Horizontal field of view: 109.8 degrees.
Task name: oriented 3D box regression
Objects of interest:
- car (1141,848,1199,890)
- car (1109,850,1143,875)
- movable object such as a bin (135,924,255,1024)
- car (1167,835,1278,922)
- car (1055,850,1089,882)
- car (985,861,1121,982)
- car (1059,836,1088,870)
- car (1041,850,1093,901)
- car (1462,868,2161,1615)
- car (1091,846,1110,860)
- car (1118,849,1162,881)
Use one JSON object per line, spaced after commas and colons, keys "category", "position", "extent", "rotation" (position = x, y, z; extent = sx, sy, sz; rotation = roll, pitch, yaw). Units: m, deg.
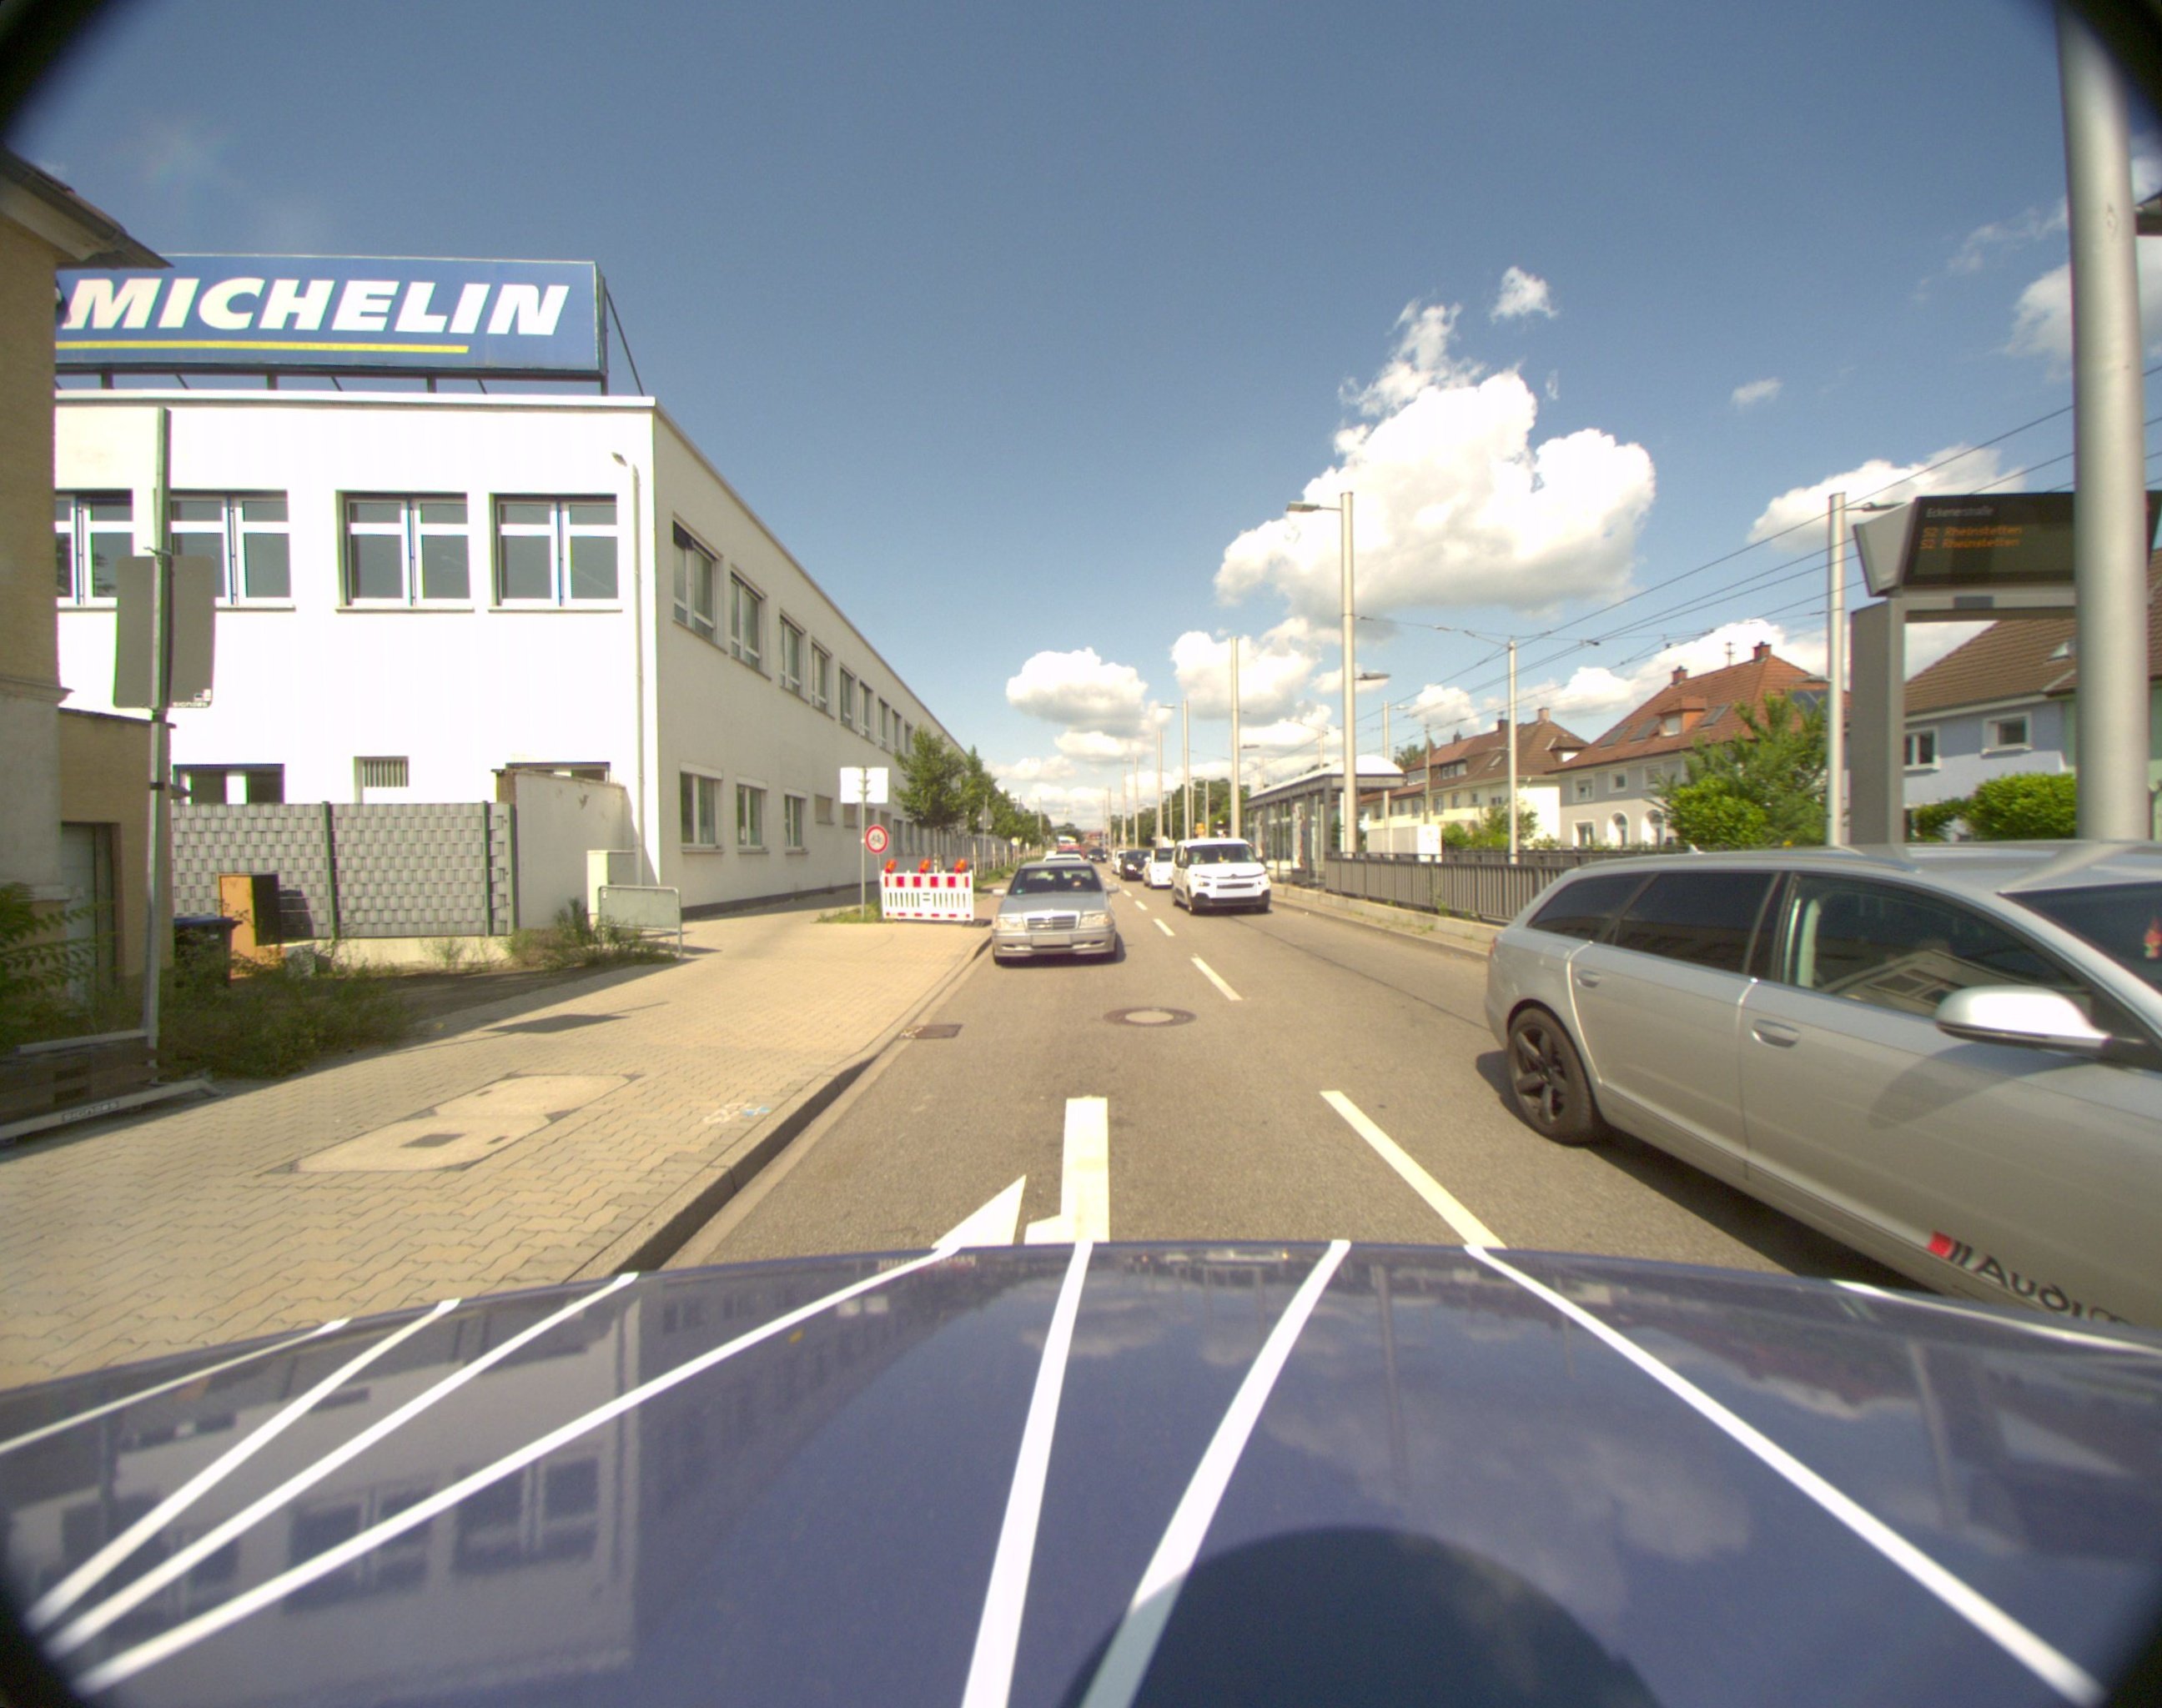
{"category": "car", "position": [3.399, 0.540, 29.623], "extent": [1.680, 1.495, 3.392], "rotation": [-2, 1, -3]}
{"category": "car", "position": [2.728, 0.464, 46.698], "extent": [1.698, 1.350, 4.497], "rotation": [-2, 1, -1]}
{"category": "movable object such as a bin", "position": [-10.650, 1.432, 9.156], "extent": [0.615, 1.081, 0.667], "rotation": [-2, 2, 10]}
{"category": "car", "position": [3.312, 0.491, 18.636], "extent": [1.799, 1.805, 4.328], "rotation": [-2, 1, -1]}
{"category": "car", "position": [-0.507, 0.589, 41.233], "extent": [1.664, 1.530, 3.998], "rotation": [-2, 1, -1]}
{"category": "car", "position": [-0.419, 0.907, 12.202], "extent": [1.725, 1.389, 4.461], "rotation": [-2, 1, -1]}
{"category": "car", "position": [-0.565, -0.116, 52.576], "extent": [1.787, 2.135, 5.167], "rotation": [-2, 1, -1]}
{"category": "car", "position": [-0.521, 0.697, 27.292], "extent": [1.664, 1.564, 3.998], "rotation": [-2, 1, -1]}
{"category": "car", "position": [3.171, 0.843, 2.224], "extent": [1.799, 1.463, 4.722], "rotation": [-2, 0, 2]}
{"category": "car", "position": [2.050, -0.125, 80.170], "extent": [1.698, 1.350, 4.497], "rotation": [-2, 1, -1]}
{"category": "car", "position": [2.860, 0.510, 37.557], "extent": [1.680, 1.414, 3.557], "rotation": [-2, 1, -3]}
